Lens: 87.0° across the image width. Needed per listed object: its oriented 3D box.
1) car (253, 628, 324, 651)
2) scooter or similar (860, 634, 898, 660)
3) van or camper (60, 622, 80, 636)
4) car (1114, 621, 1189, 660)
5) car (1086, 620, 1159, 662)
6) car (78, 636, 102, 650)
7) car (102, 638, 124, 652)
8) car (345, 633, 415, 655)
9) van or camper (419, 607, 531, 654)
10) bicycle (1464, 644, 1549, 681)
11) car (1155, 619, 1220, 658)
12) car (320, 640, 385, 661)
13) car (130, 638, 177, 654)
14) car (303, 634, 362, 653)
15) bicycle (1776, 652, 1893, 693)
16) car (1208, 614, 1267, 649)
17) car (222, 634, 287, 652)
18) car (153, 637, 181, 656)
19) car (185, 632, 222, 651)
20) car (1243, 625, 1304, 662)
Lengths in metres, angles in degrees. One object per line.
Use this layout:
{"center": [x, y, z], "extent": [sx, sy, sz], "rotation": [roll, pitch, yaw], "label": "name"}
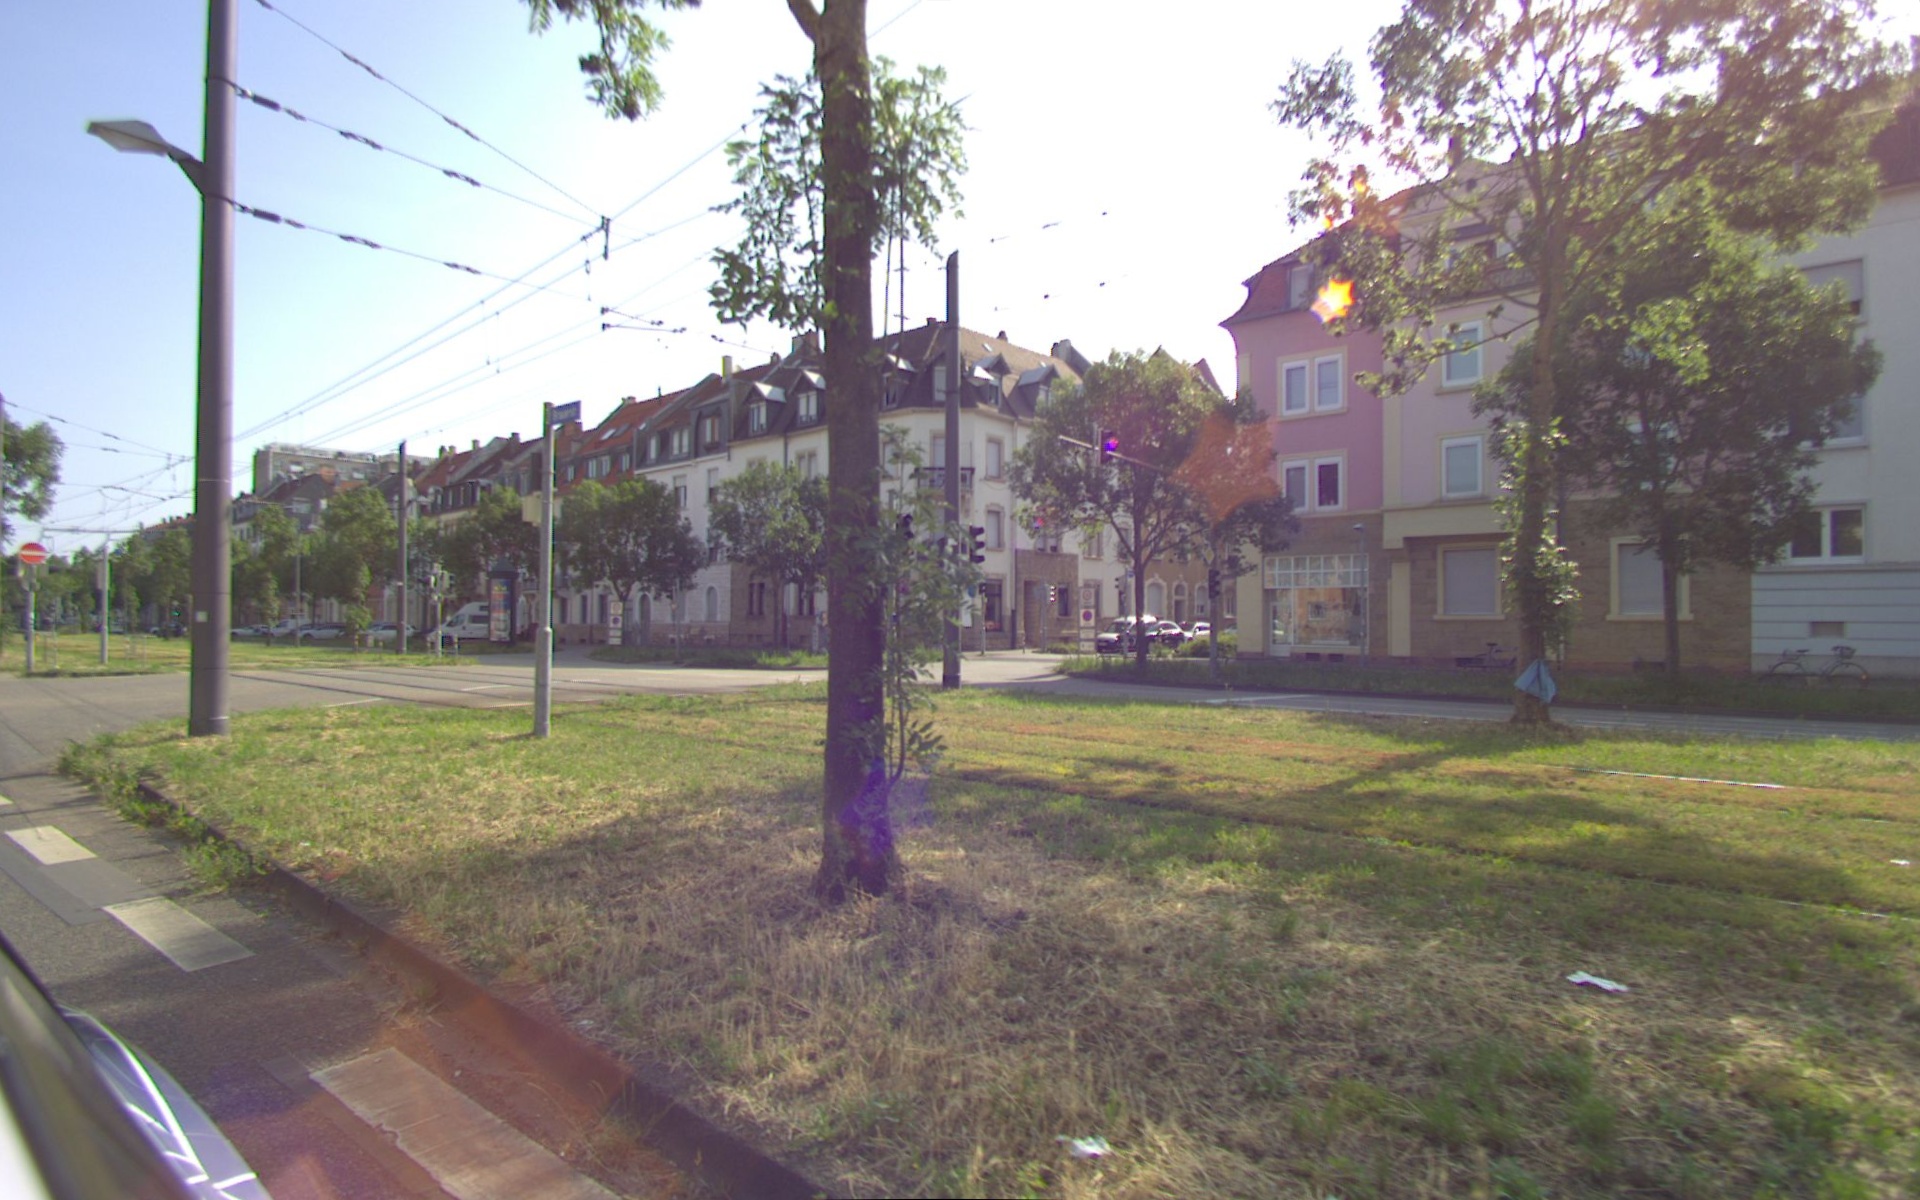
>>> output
{"center": [-59.031, 3.458, 89.079], "extent": [4.870, 1.739, 1.862], "rotation": [-2, 1, -13], "label": "car"}
{"center": [-3.534, 2.040, 44.243], "extent": [1.478, 1.077, 0.737], "rotation": [-1, 1, 21], "label": "scooter or similar"}
{"center": [-148.158, 4.809, 168.458], "extent": [5.352, 2.112, 1.931], "rotation": [-1, 1, 42], "label": "van or camper"}
{"center": [9.277, 1.927, 48.836], "extent": [1.833, 1.633, 3.946], "rotation": [-1, 1, 40], "label": "car"}
{"center": [8.194, 2.009, 50.729], "extent": [1.833, 1.863, 3.946], "rotation": [-1, 1, 40], "label": "car"}
{"center": [-115.400, 5.667, 134.214], "extent": [5.381, 1.642, 1.971], "rotation": [-1, 1, 44], "label": "car"}
{"center": [-102.893, 5.397, 122.907], "extent": [1.924, 1.470, 4.654], "rotation": [-2, 1, -42], "label": "car"}
{"center": [-40.542, 3.088, 70.834], "extent": [3.948, 1.326, 1.666], "rotation": [-2, 1, -13], "label": "car"}
{"center": [-29.787, 1.841, 62.356], "extent": [5.827, 2.593, 2.205], "rotation": [-2, 1, -13], "label": "van or camper"}
{"center": [14.555, 1.643, 26.988], "extent": [1.947, 0.895, 0.463], "rotation": [-1, 1, 41], "label": "bicycle"}
{"center": [12.447, 2.055, 55.337], "extent": [1.833, 1.863, 3.946], "rotation": [-1, 1, 40], "label": "car"}
{"center": [-43.589, 3.613, 72.677], "extent": [3.625, 1.251, 1.666], "rotation": [-2, 1, -13], "label": "car"}
{"center": [-98.186, 5.552, 123.248], "extent": [3.934, 1.739, 2.005], "rotation": [-2, 1, -13], "label": "car"}
{"center": [-49.430, 3.411, 79.782], "extent": [3.625, 1.251, 1.666], "rotation": [-2, 1, -13], "label": "car"}
{"center": [19.424, 1.594, 22.516], "extent": [1.947, 0.795, 0.433], "rotation": [-1, 1, 41], "label": "bicycle"}
{"center": [16.349, 1.812, 59.604], "extent": [1.833, 1.863, 3.946], "rotation": [-1, 1, 40], "label": "car"}
{"center": [-68.062, 4.161, 97.751], "extent": [4.697, 1.496, 2.029], "rotation": [-2, 1, -15], "label": "car"}
{"center": [-76.746, 4.459, 97.896], "extent": [1.744, 1.668, 4.003], "rotation": [-2, 1, -44], "label": "car"}
{"center": [-64.756, 3.554, 86.659], "extent": [3.925, 1.444, 1.793], "rotation": [-1, 1, 42], "label": "car"}
{"center": [14.516, 1.967, 46.773], "extent": [1.568, 1.472, 3.365], "rotation": [-1, 1, 39], "label": "car"}
